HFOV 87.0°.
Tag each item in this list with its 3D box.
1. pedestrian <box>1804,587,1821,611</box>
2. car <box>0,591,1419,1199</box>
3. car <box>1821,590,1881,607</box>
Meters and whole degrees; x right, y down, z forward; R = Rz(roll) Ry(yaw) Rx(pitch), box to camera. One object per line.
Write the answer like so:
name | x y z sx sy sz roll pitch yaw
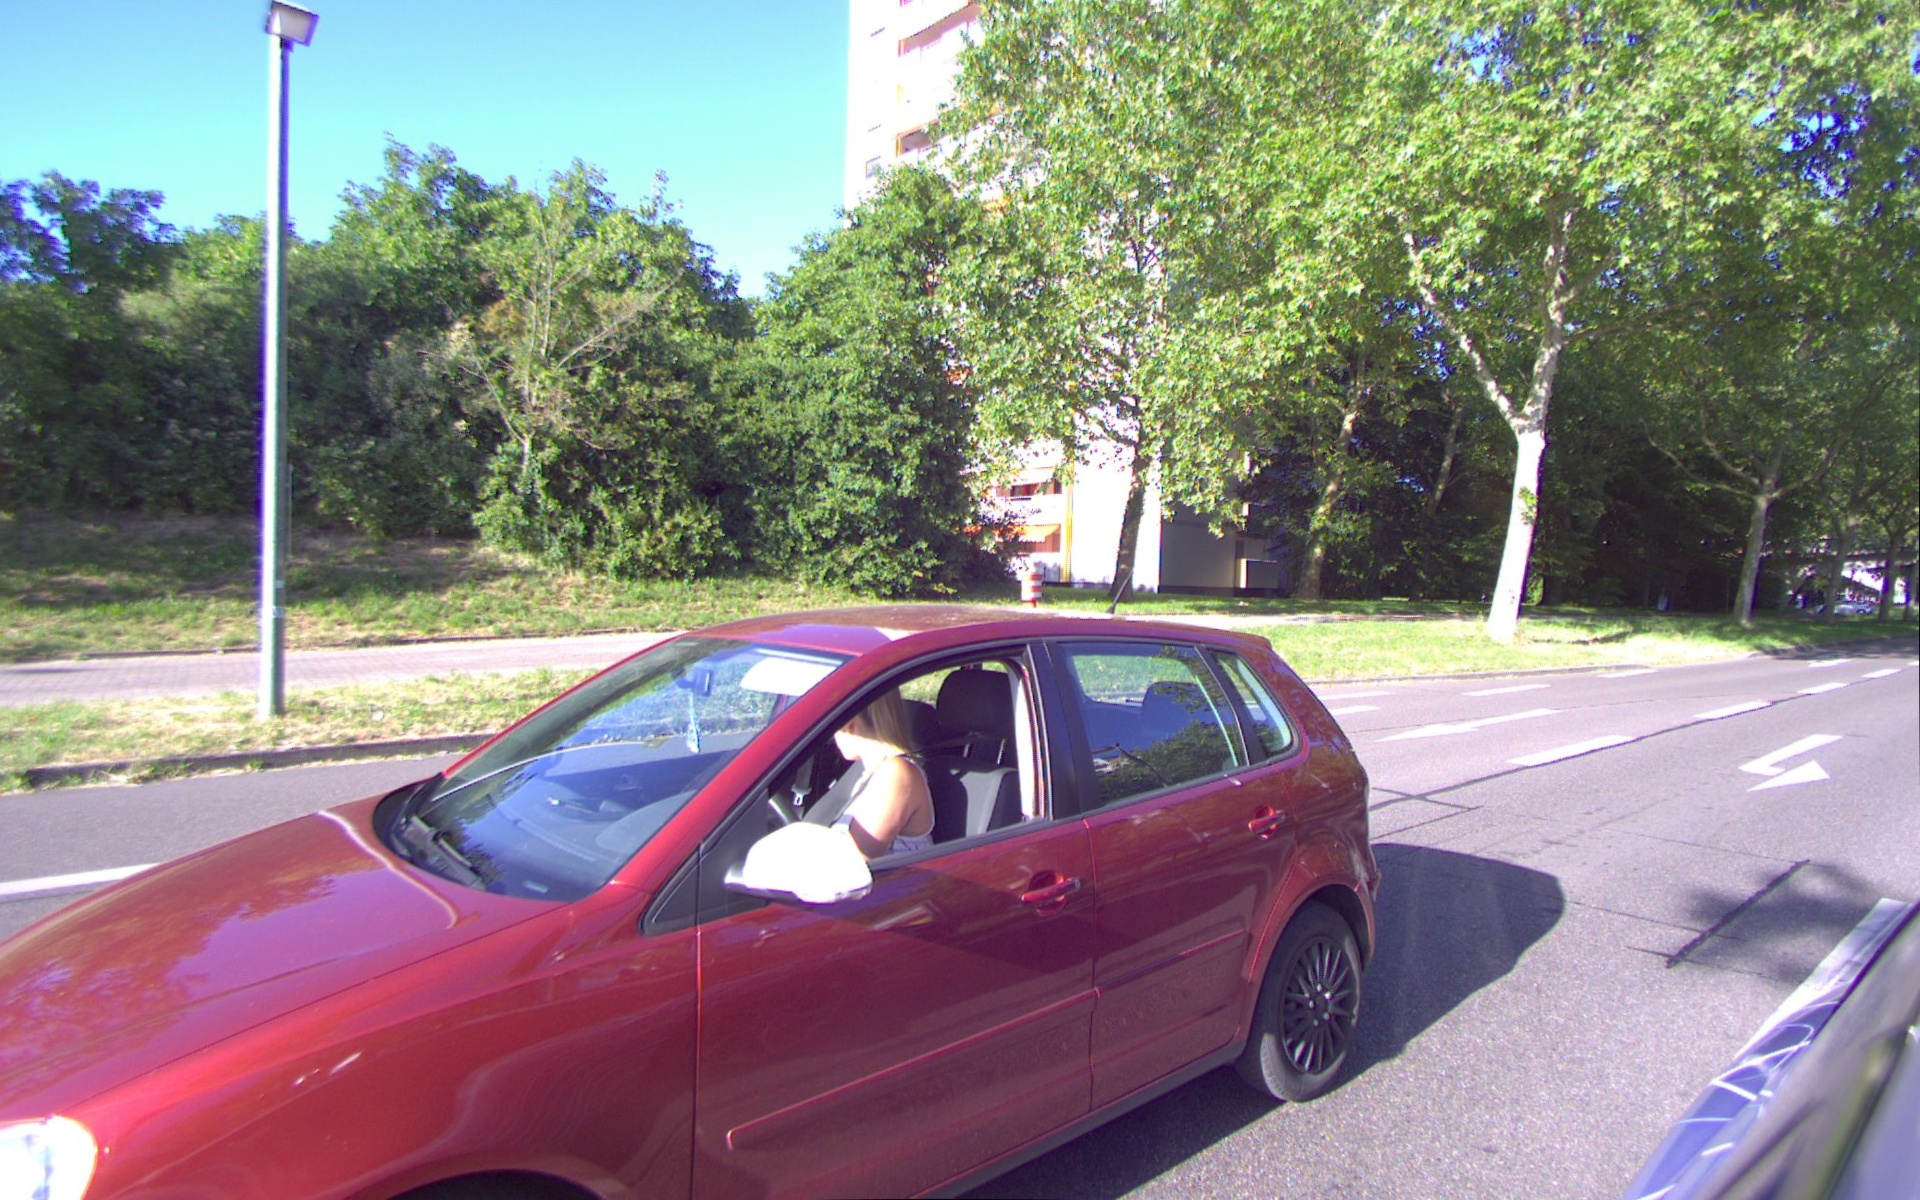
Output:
pedestrian | 73.297 -0.058 86.982 0.944 2.039 0.919 0 0 -36
car | -0.430 0.713 2.787 3.694 1.456 1.645 -1 1 -40
car | 80.710 -0.131 91.737 3.983 1.493 1.772 0 0 42
